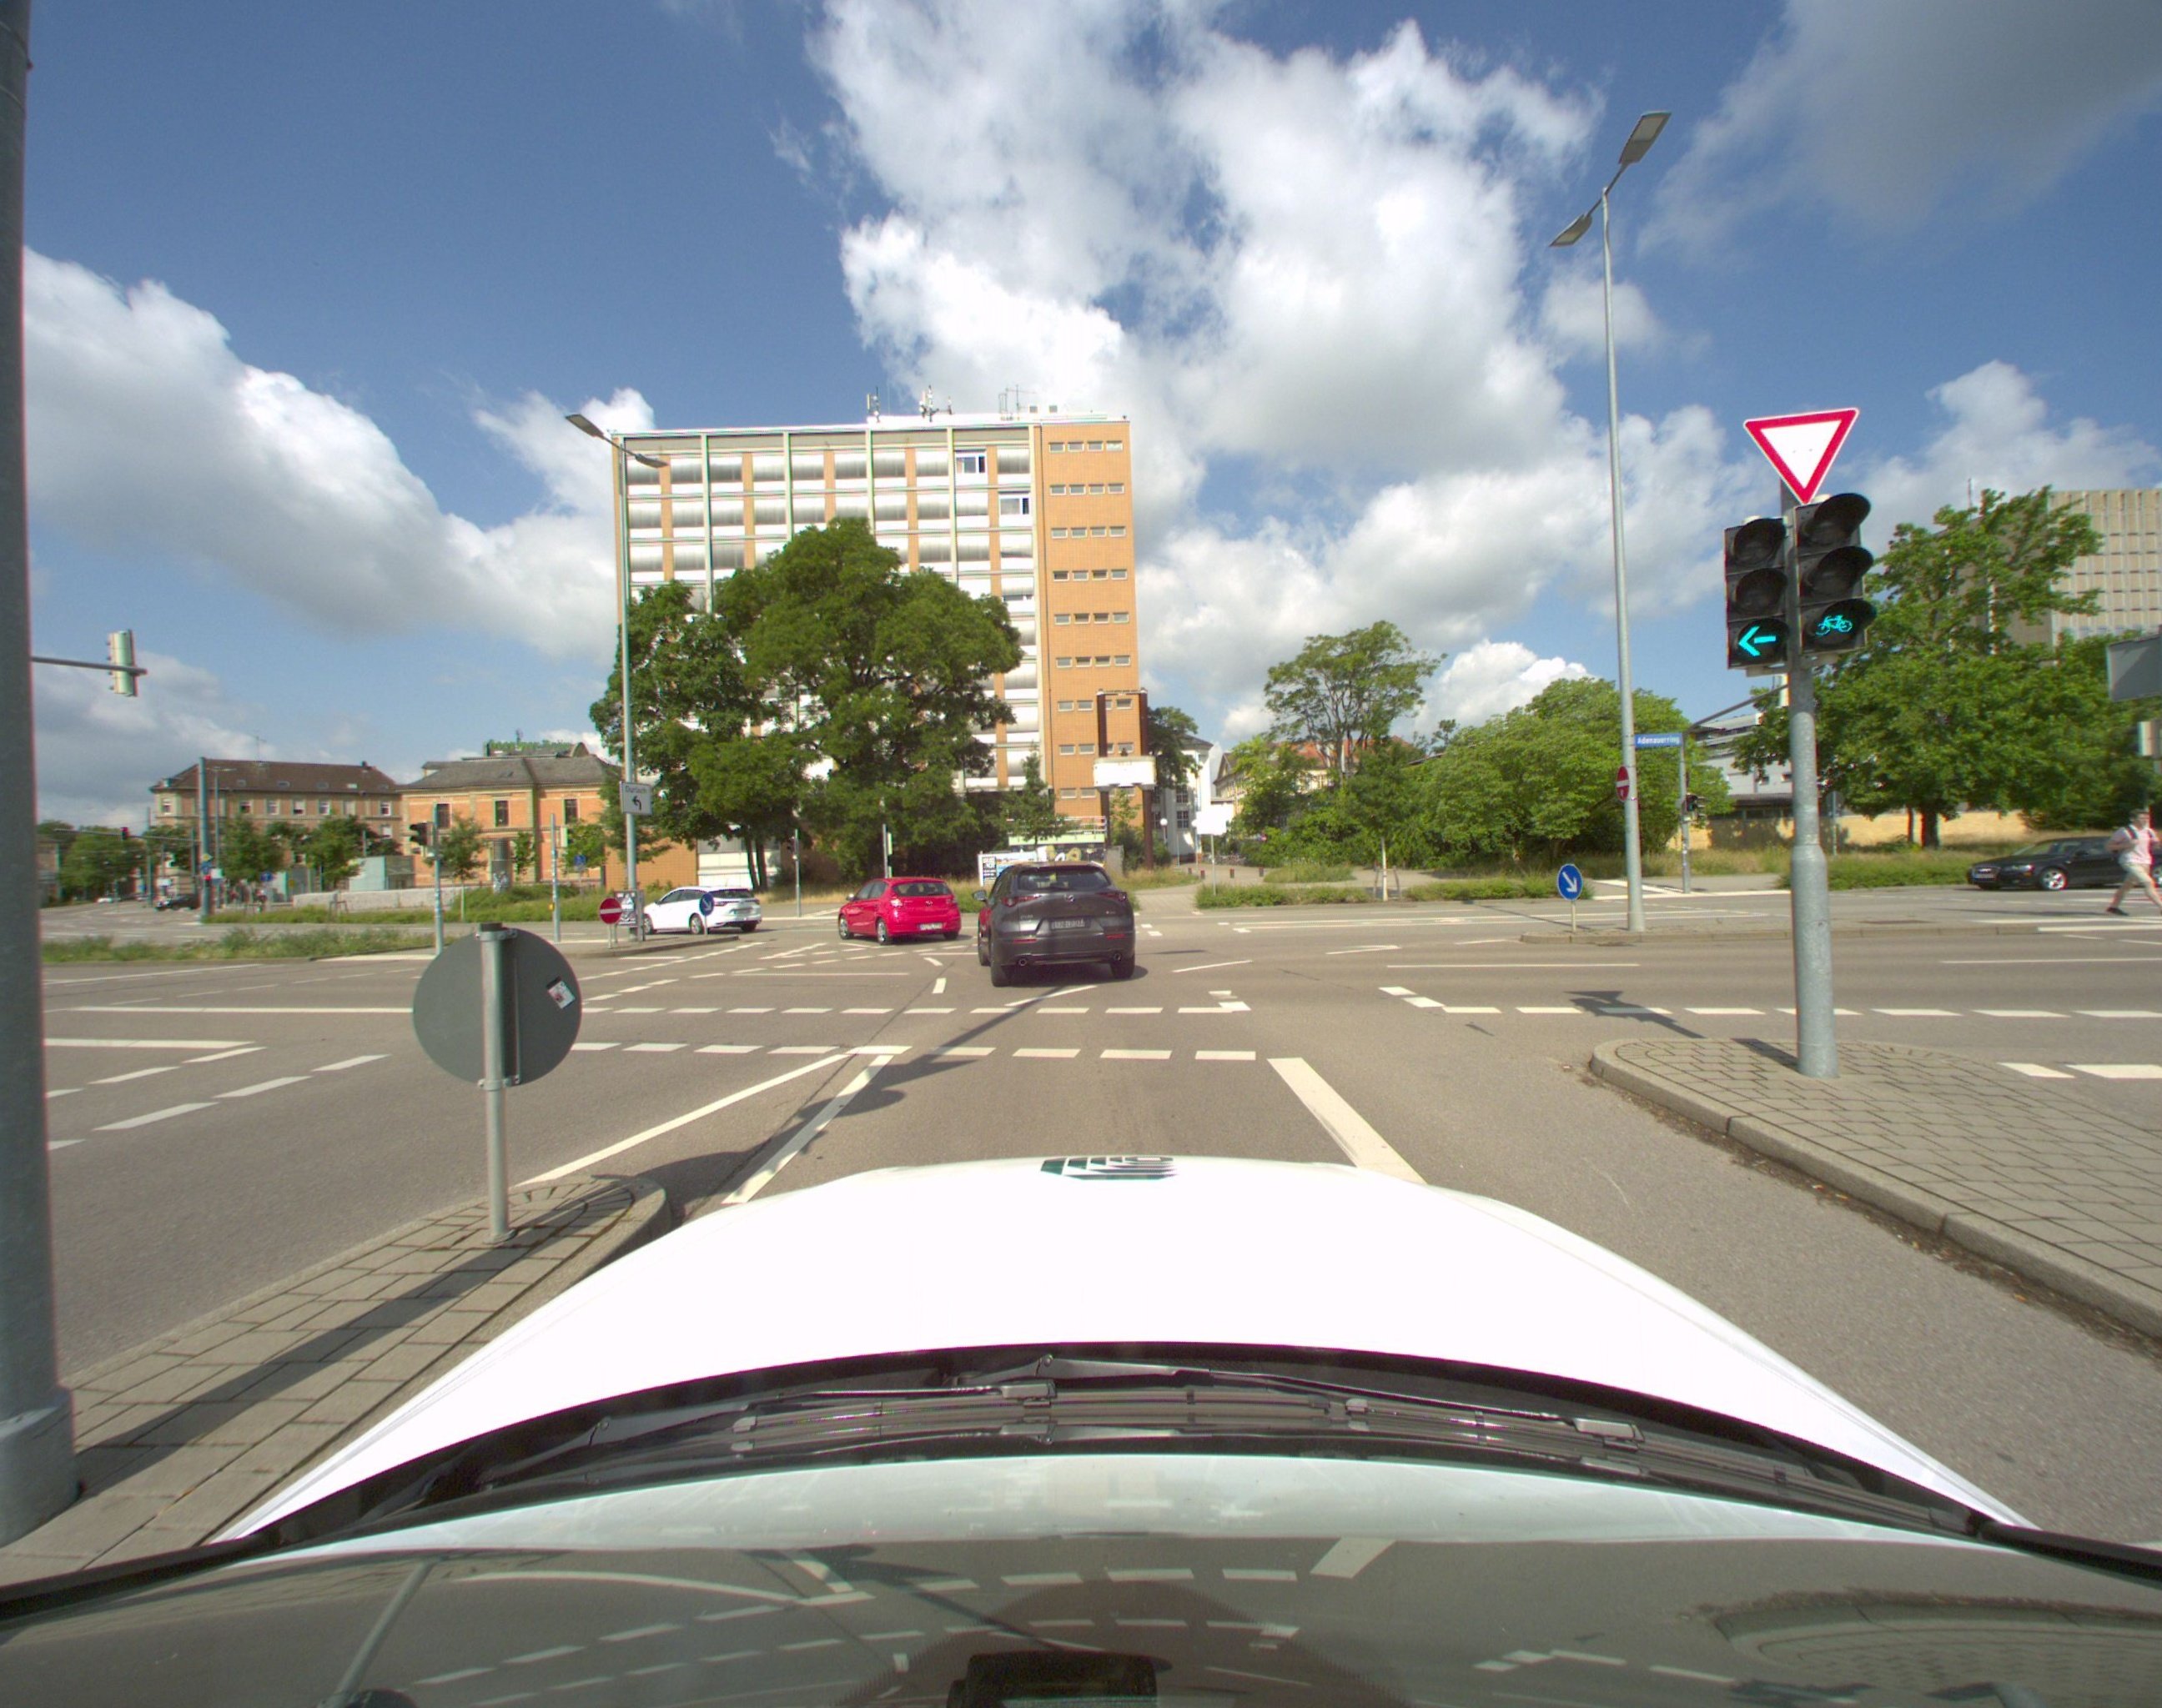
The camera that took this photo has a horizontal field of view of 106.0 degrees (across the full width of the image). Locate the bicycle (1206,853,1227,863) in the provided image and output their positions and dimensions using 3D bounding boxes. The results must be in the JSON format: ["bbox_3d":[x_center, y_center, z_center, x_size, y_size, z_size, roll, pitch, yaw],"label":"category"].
[{"bbox_3d":[13.975,0.408,84.169,2.048,0.936,0.804,-2,-1,0],"label":"bicycle"}]

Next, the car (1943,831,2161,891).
[{"bbox_3d":[26.589,0.171,22.066,4.126,1.377,2.003,-2,1,5],"label":"car"}]

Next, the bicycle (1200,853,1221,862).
[{"bbox_3d":[14.148,0.396,89.028,2.048,0.936,0.804,-2,-1,0],"label":"bicycle"}]

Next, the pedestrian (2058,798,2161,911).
[{"bbox_3d":[18.018,0.027,14.050,0.696,1.857,1.177,-3,-3,-7],"label":"pedestrian"}]

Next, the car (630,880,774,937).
[{"bbox_3d":[-11.457,1.622,24.550,4.279,1.472,1.866,-3,0,32],"label":"car"}]

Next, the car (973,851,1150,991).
[{"bbox_3d":[-0.475,0.814,11.450,1.806,1.508,4.189,-2,-1,-10],"label":"car"}]

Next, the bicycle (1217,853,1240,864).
[{"bbox_3d":[14.381,0.416,79.428,2.048,0.936,0.804,-2,-1,0],"label":"bicycle"}]

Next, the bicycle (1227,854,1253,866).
[{"bbox_3d":[14.058,0.527,71.974,2.048,0.936,0.804,-2,-1,0],"label":"bicycle"}]

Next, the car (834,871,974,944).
[{"bbox_3d":[-4.248,1.186,19.060,1.829,1.439,4.024,-1,-1,-34],"label":"car"}]

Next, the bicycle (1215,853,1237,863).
[{"bbox_3d":[14.319,0.412,80.429,2.048,0.936,0.804,-2,-1,0],"label":"bicycle"}]

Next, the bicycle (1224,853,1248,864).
[{"bbox_3d":[14.427,0.421,75.949,2.048,0.936,0.804,-2,-1,0],"label":"bicycle"}]

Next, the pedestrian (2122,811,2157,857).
[{"bbox_3d":[37.528,-0.715,28.872,0.521,1.607,0.541,0,0,-3],"label":"pedestrian"}]

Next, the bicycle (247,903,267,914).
[{"bbox_3d":[-63.092,4.178,62.337,1.766,0.810,0.631,-3,1,31],"label":"bicycle"}]

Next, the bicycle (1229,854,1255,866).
[{"bbox_3d":[13.881,0.498,70.400,2.048,0.936,0.804,-2,-1,0],"label":"bicycle"}]

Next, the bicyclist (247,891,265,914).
[{"bbox_3d":[-63.227,3.690,62.412,0.953,1.702,0.743,-3,1,32],"label":"bicyclist"}]

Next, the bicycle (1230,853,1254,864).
[{"bbox_3d":[14.744,0.422,74.611,2.048,0.936,0.804,-2,-1,0],"label":"bicycle"}]

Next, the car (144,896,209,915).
[{"bbox_3d":[-92.185,5.238,83.070,1.796,1.508,4.094,-3,0,12],"label":"car"}]
